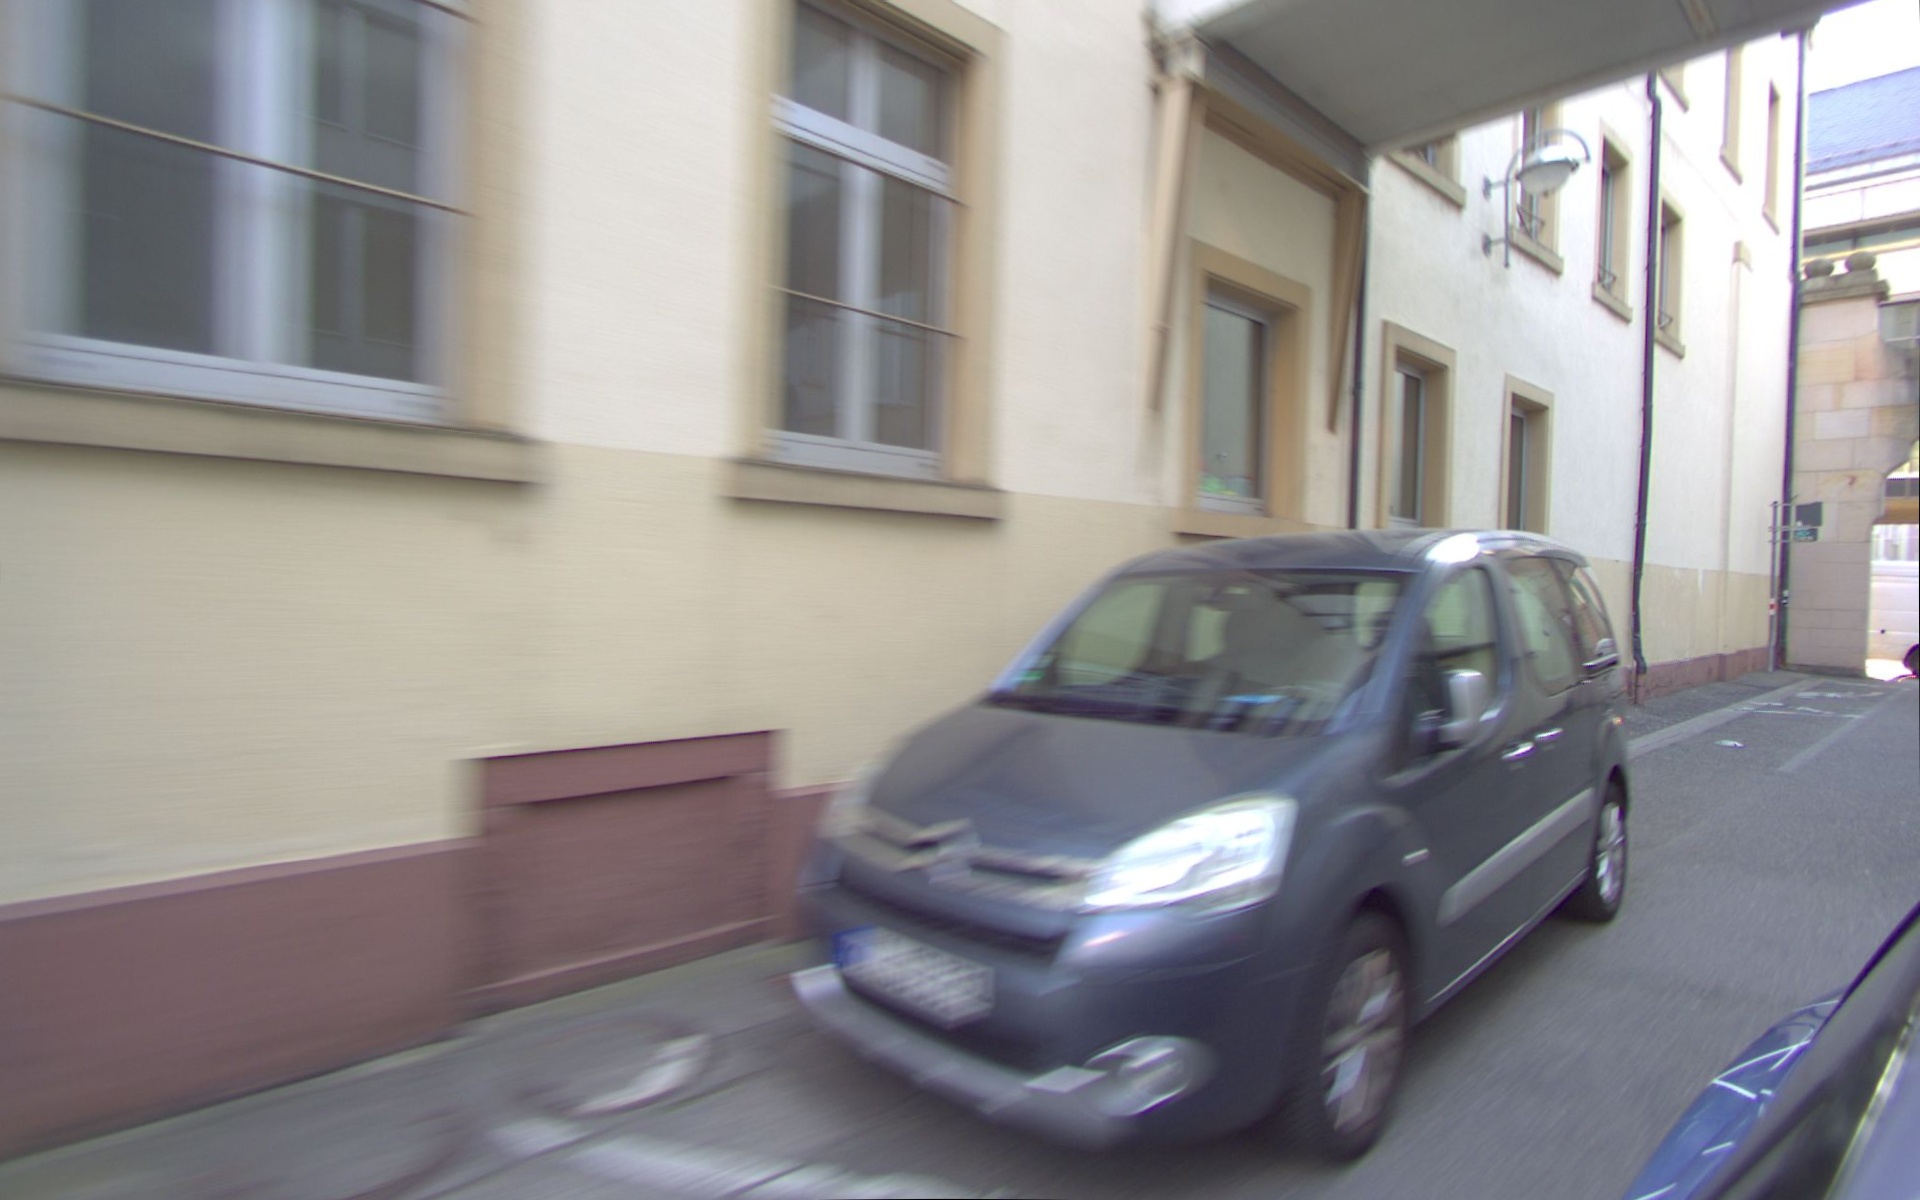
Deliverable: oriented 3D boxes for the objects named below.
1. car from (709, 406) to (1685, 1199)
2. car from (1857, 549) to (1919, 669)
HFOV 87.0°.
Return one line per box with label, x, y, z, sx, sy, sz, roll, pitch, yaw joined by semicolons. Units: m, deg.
car;1.470;0.509;4.230;4.672;1.789;1.761;0;0;-44
car;22.754;0.194;21.062;6.014;2.566;2.243;0;0;40
